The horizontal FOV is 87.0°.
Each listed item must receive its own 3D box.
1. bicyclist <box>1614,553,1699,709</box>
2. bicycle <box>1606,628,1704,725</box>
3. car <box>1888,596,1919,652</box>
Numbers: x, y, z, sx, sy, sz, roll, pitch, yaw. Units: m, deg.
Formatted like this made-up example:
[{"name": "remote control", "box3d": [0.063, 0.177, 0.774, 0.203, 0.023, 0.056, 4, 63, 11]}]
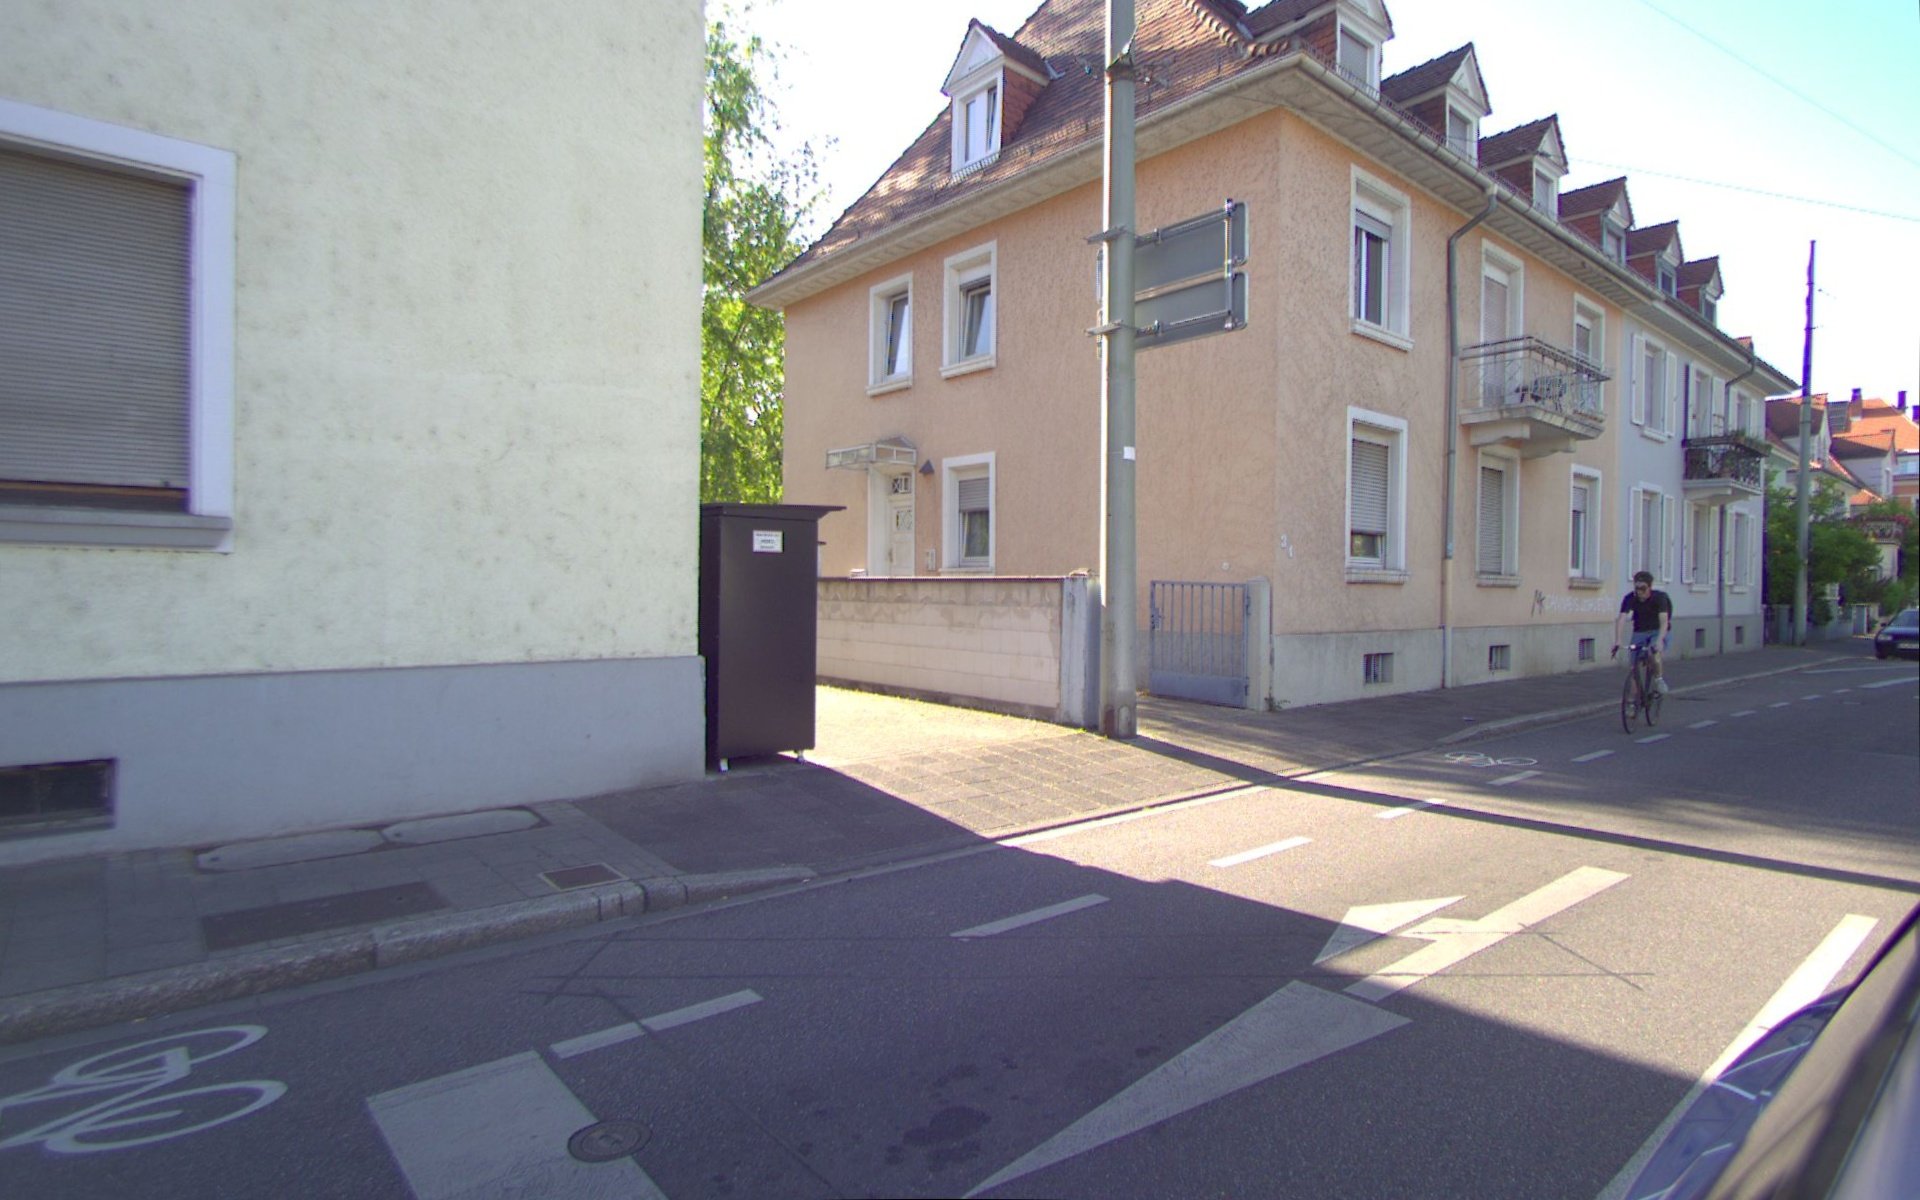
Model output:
[{"name": "bicyclist", "box3d": [8.259, 0.343, 11.993, 1.065, 1.752, 0.561, 0, 0, -40]}, {"name": "bicycle", "box3d": [8.272, 0.871, 12.025, 1.727, 1.029, 0.533, 0, 1, -41]}, {"name": "car", "box3d": [26.718, 0.628, 27.399, 4.347, 1.425, 1.866, 0, 1, -41]}]
